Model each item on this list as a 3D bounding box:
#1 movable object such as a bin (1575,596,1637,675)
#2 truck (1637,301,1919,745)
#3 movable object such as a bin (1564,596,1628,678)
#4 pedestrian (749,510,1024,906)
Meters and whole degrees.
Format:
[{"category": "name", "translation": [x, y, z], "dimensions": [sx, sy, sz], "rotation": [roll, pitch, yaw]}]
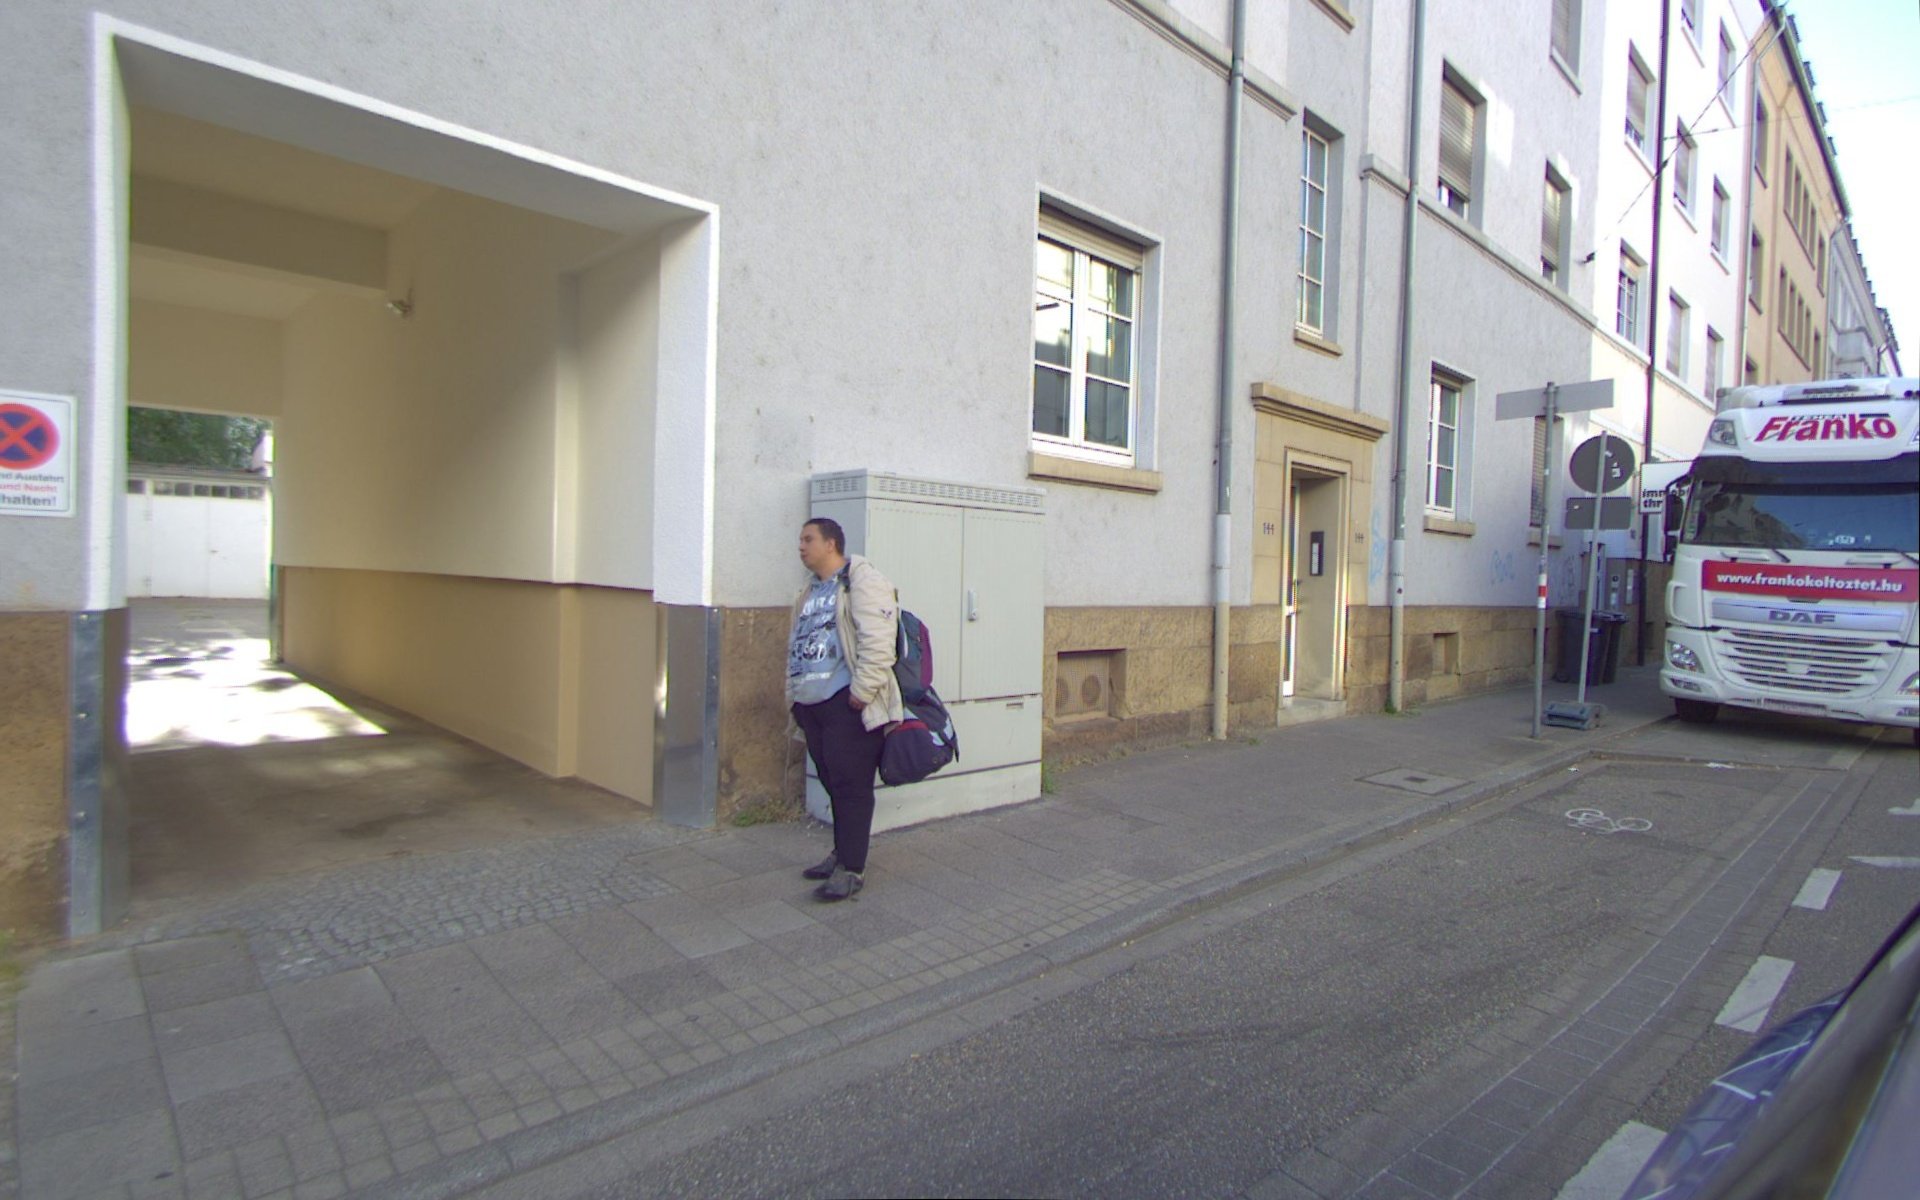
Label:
[{"category": "movable object such as a bin", "translation": [9.579, 0.514, 15.013], "dimensions": [0.658, 1.118, 0.533], "rotation": [2, 2, 44]}, {"category": "truck", "translation": [12.662, -0.756, 13.885], "dimensions": [11.578, 4.123, 2.864], "rotation": [0, 2, -43]}, {"category": "movable object such as a bin", "translation": [9.168, 0.520, 14.598], "dimensions": [0.658, 1.118, 0.533], "rotation": [2, 2, 44]}, {"category": "pedestrian", "translation": [-0.338, 0.399, 4.554], "dimensions": [0.854, 1.552, 0.827], "rotation": [0, 3, -42]}]
